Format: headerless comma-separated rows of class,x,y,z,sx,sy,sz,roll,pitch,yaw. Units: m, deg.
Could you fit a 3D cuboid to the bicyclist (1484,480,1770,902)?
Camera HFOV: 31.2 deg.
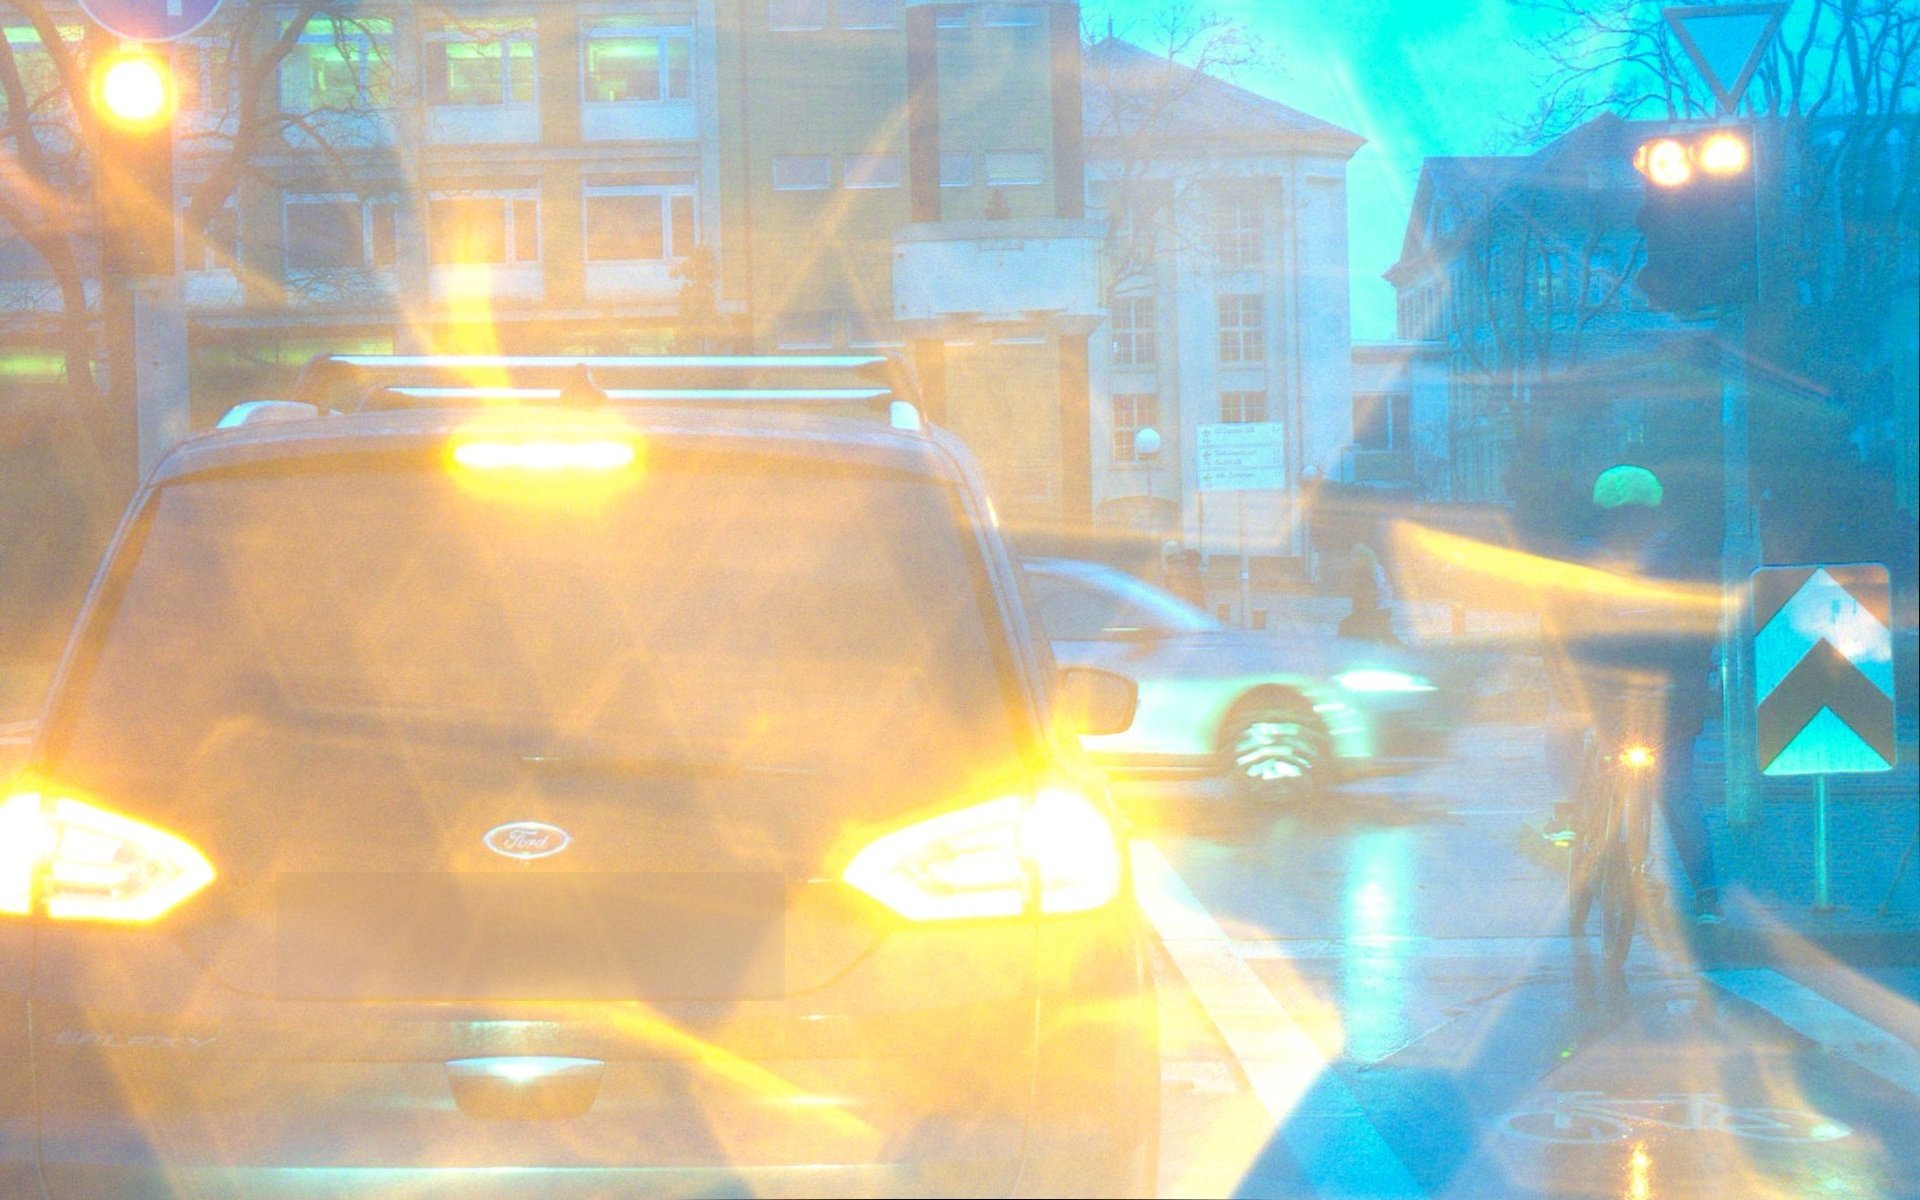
bicyclist,2.391,0.308,12.445,0.783,1.448,1.134,1,0,-1

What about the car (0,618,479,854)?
car,-5.508,0.925,23.710,3.956,1.472,1.811,-2,0,8

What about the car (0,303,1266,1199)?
car,-0.625,0.486,6.567,1.993,1.783,4.000,1,1,-1

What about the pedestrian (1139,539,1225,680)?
pedestrian,2.910,0.117,45.031,0.997,1.793,0.919,-2,1,9

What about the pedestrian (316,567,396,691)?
pedestrian,-8.148,0.382,46.386,0.760,1.622,0.721,-2,1,16

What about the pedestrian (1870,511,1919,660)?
pedestrian,13.818,-0.220,49.645,0.883,2.106,0.896,-2,1,-22

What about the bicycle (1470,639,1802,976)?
bicycle,2.400,0.705,12.445,0.783,1.071,1.957,1,1,-1

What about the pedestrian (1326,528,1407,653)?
pedestrian,5.115,-0.130,43.290,0.924,1.527,1.043,-2,1,4

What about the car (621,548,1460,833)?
car,0.523,0.512,19.905,4.580,1.472,1.810,-2,0,11

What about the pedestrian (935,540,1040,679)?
pedestrian,0.356,0.116,43.956,1.136,1.714,0.981,-2,1,10
